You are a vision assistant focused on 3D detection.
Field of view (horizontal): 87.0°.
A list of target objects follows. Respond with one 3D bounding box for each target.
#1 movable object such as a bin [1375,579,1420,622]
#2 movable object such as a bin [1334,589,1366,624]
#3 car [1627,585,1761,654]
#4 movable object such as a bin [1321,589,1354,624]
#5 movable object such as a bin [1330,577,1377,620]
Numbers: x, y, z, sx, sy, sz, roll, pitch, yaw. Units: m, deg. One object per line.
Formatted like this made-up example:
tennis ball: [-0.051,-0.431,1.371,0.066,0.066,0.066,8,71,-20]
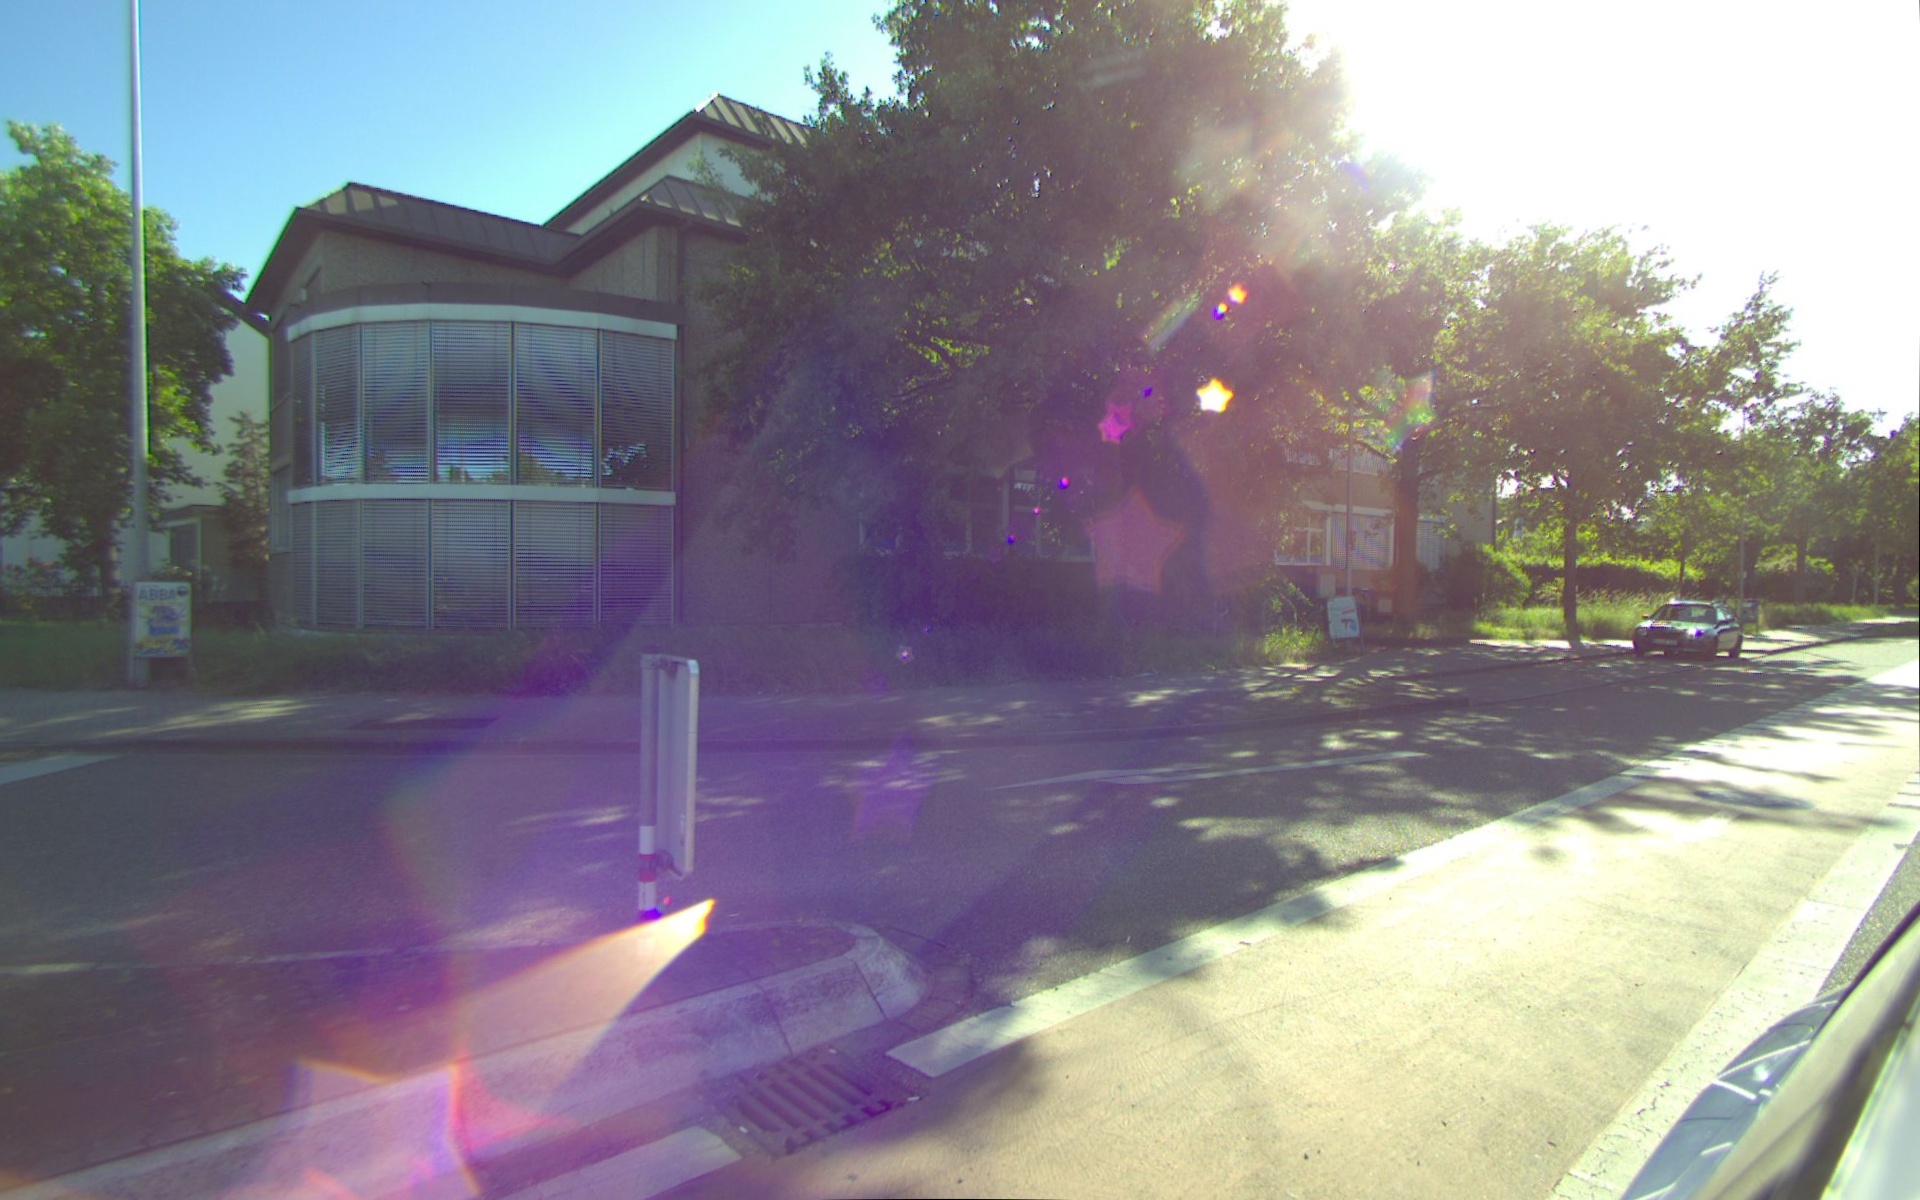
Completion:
movable object such as a bin: [13.899,-0.009,32.181,0.782,1.338,1.089,0,1,-40]
movable object such as a bin: [12.063,0.185,31.336,0.683,1.055,0.687,0,1,-41]
car: [18.531,0.424,25.493,4.141,1.504,1.776,-1,3,-41]
movable object such as a bin: [11.524,0.206,30.877,0.683,1.055,0.687,0,0,-41]
movable object such as a bin: [12.896,-0.059,33.214,0.782,1.358,1.207,0,1,-40]
